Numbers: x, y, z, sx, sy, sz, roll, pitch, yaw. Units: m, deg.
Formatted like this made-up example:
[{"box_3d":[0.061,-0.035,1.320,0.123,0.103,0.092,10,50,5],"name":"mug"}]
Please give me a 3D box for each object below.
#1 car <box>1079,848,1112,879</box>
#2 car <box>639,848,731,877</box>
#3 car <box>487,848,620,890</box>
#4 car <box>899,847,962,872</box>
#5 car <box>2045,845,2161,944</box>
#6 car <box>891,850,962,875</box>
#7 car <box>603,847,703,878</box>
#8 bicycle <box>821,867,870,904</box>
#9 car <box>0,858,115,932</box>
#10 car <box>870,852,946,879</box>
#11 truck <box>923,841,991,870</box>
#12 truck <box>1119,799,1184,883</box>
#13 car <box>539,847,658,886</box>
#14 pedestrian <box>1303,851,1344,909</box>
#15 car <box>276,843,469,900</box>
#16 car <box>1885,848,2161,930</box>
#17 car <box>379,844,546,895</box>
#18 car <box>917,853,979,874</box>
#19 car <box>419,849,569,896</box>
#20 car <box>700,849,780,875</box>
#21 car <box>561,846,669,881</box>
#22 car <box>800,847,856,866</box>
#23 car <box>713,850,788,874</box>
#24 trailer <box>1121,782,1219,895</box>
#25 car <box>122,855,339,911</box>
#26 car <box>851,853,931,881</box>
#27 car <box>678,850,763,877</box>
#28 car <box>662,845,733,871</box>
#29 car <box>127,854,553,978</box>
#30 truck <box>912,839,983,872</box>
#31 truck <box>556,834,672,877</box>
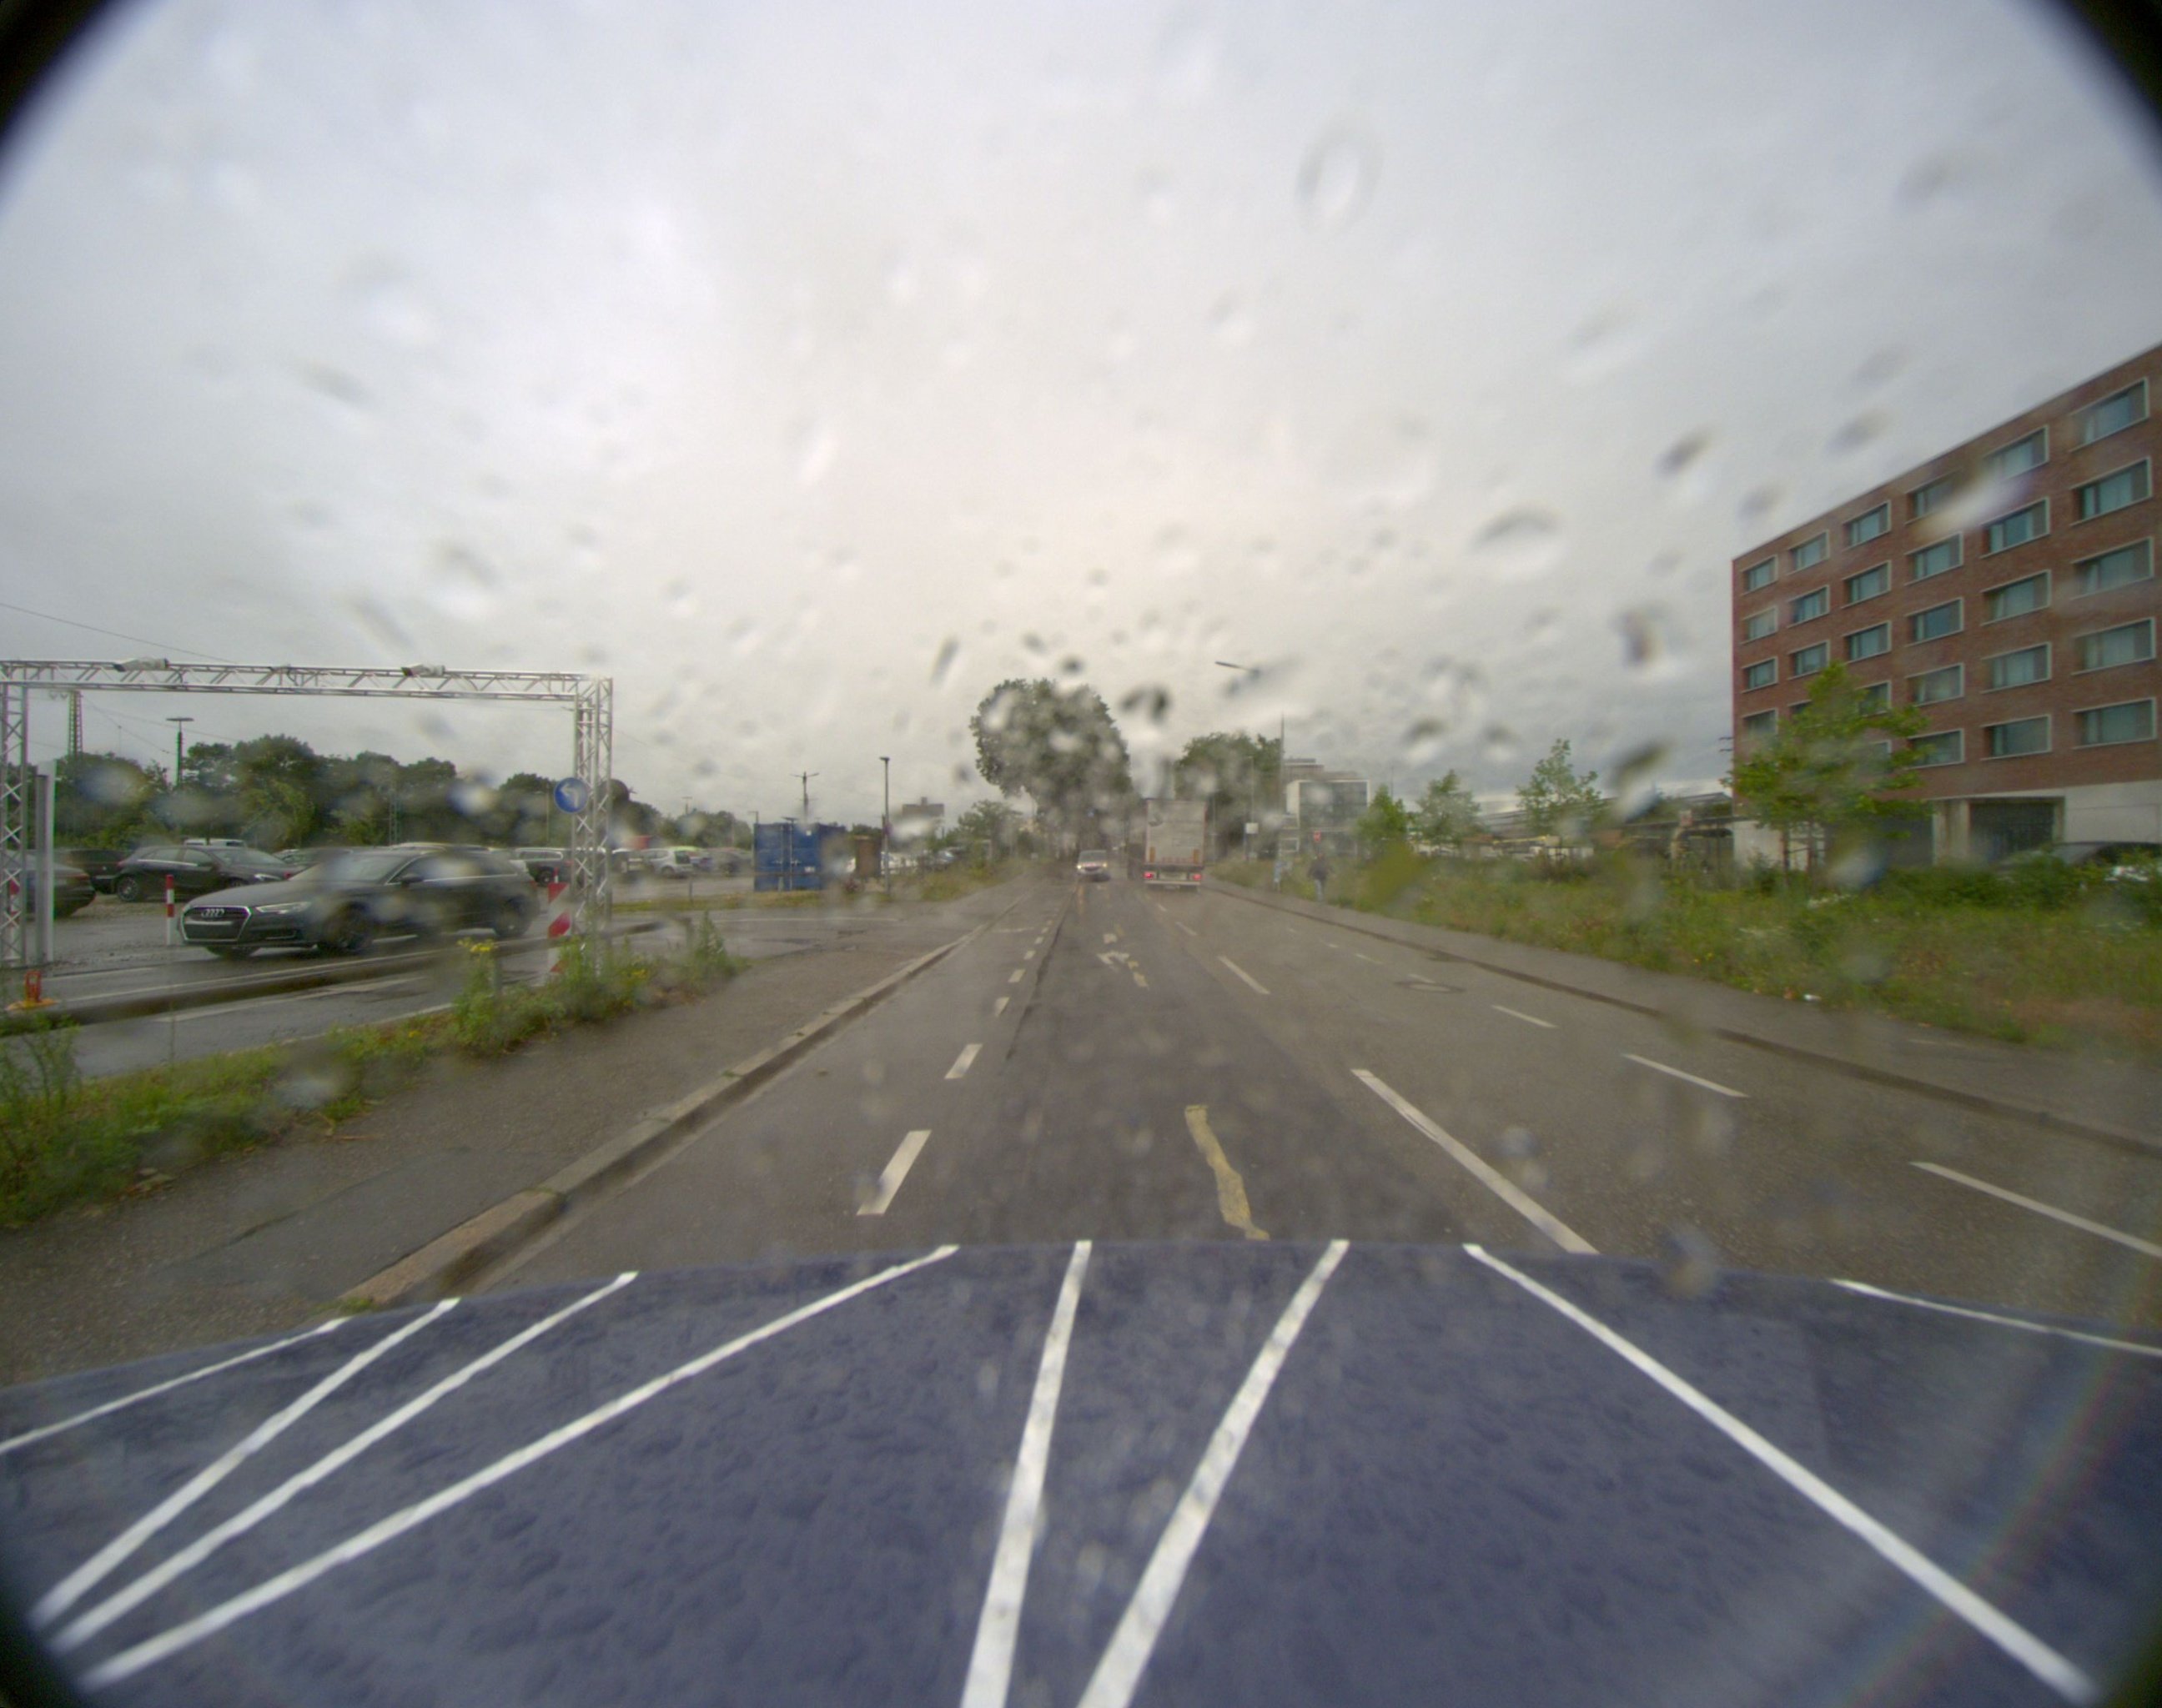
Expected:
[{"box_3d":[0.892,0.516,44.249,1.838,1.714,4.173,0,0,3],"name":"car"},{"box_3d":[-21.178,0.443,40.702,3.961,1.419,1.887,1,1,3],"name":"car"},{"box_3d":[-20.396,0.550,29.484,3.961,1.481,1.778,1,1,3],"name":"car"},{"box_3d":[-10.196,0.380,51.811,3.906,1.585,1.896,-1,1,-1],"name":"car"},{"box_3d":[19.965,0.660,12.988,4.533,1.631,1.999,0,0,-2],"name":"car"},{"box_3d":[-9.267,0.509,45.836,3.906,1.415,1.779,-1,1,-1],"name":"car"},{"box_3d":[-21.502,0.394,38.260,3.961,1.419,1.887,1,1,3],"name":"car"},{"box_3d":[-7.394,0.965,23.913,0.507,1.078,1.706,1,0,22],"name":"bicycle"},{"box_3d":[-21.211,0.694,13.871,4.599,1.214,1.978,1,1,0],"name":"car"},{"box_3d":[-9.821,0.619,43.336,3.906,1.415,1.905,-1,1,-1],"name":"car"},{"box_3d":[-10.346,0.118,63.681,5.342,2.309,2.074,-1,1,1],"name":"truck"},{"box_3d":[4.022,-0.738,44.974,3.302,4.626,6.033,0,0,0],"name":"truck"},{"box_3d":[-20.487,0.504,32.330,3.961,1.481,1.778,1,1,3],"name":"car"},{"box_3d":[7.287,0.761,22.867,0.911,1.708,1.026,0,1,1],"name":"pedestrian"},{"box_3d":[-20.450,0.470,22.047,3.961,1.481,1.870,1,1,3],"name":"car"},{"box_3d":[19.901,0.675,15.702,4.533,1.570,1.999,0,0,-2],"name":"car"},{"box_3d":[-19.890,0.457,24.547,3.961,1.481,1.870,1,1,3],"name":"car"},{"box_3d":[-9.625,0.648,55.200,4.170,1.412,1.863,-1,1,-2],"name":"car"},{"box_3d":[-20.572,0.607,26.724,3.961,1.481,1.778,1,1,3],"name":"car"},{"box_3d":[-20.648,0.485,46.091,3.961,1.419,1.887,1,1,3],"name":"car"},{"box_3d":[-21.643,0.436,35.353,3.961,1.481,1.778,1,1,3],"name":"car"},{"box_3d":[-20.960,0.178,63.117,3.996,1.441,1.842,1,1,3],"name":"car"},{"box_3d":[-21.097,0.488,48.643,3.961,1.419,1.887,1,1,3],"name":"car"},{"box_3d":[4.028,-0.625,38.122,3.302,4.626,13.732,0,0,0],"name":"trailer"},{"box_3d":[-21.212,0.694,19.034,3.895,1.214,1.648,1,1,6],"name":"car"},{"box_3d":[-10.130,0.687,40.710,3.781,1.385,1.905,-1,1,-1],"name":"car"},{"box_3d":[-20.602,0.527,43.496,3.961,1.419,1.887,1,1,3],"name":"car"},{"box_3d":[-26.340,0.262,52.295,3.995,1.789,1.797,0,1,5],"name":"car"},{"box_3d":[-10.298,0.737,11.142,1.898,1.448,4.229,0,0,6],"name":"car"},{"box_3d":[-10.158,0.132,58.046,5.046,2.389,2.110,-1,1,-1],"name":"truck"},{"box_3d":[-26.644,0.096,43.507,5.301,2.354,2.153,1,0,1],"name":"truck"}]
